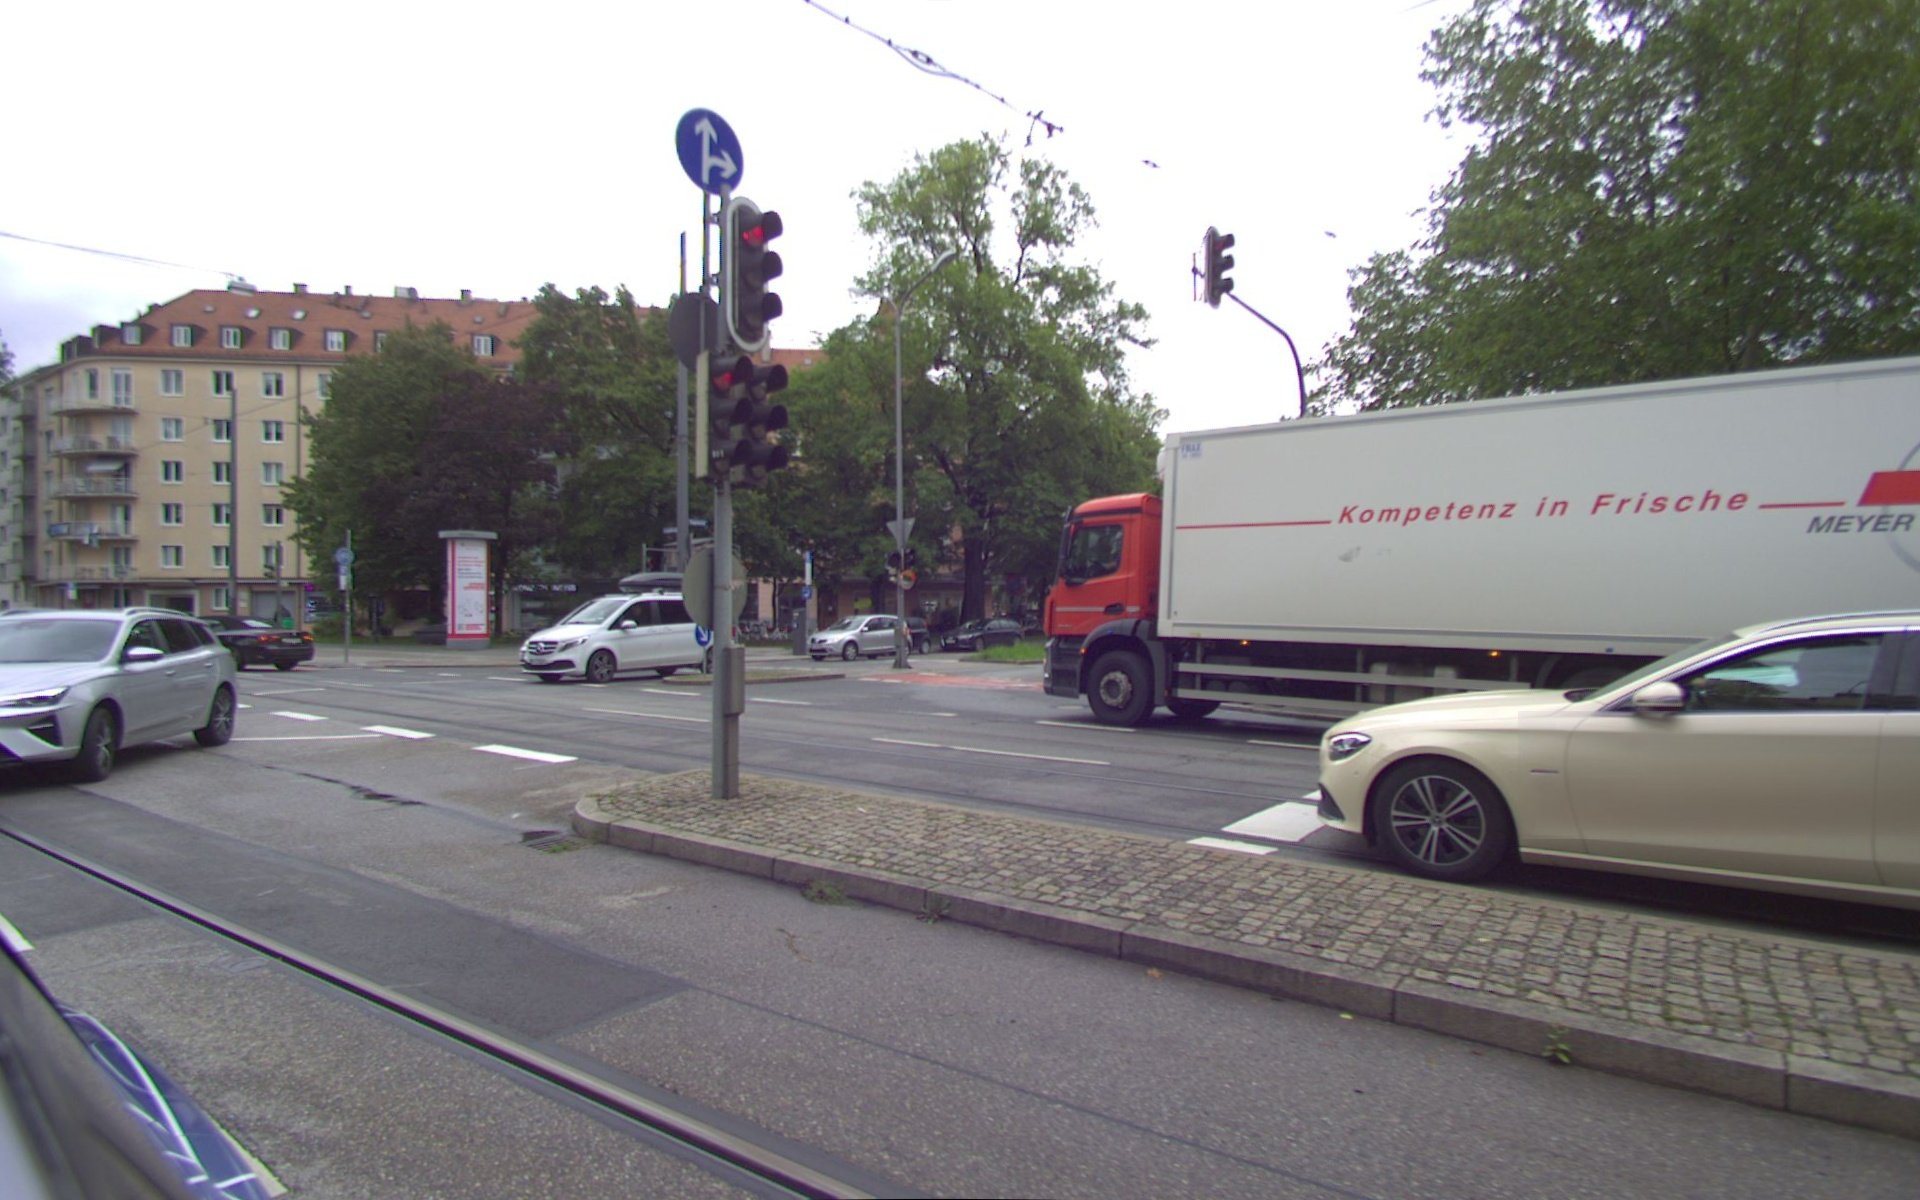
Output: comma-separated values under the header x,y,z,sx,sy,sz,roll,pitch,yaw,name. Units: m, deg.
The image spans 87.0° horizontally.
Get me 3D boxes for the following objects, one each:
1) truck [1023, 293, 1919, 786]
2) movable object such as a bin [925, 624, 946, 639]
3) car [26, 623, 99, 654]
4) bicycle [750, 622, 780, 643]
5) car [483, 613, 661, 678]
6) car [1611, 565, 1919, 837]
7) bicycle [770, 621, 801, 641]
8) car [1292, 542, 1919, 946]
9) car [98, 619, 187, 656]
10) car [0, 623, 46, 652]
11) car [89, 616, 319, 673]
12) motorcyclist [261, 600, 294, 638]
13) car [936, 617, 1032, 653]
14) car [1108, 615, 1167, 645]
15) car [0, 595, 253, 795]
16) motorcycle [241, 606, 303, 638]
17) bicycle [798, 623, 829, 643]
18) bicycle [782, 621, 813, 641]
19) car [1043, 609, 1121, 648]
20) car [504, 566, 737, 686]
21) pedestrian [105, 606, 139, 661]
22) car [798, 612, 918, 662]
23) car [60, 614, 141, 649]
x,y,z,sx,sy,sz,roll,pitch,yaw,name
6.261,-0.436,11.197,11.701,4.011,2.713,-1,-2,39,truck
-1.512,1.956,62.501,0.762,0.879,1.182,1,-1,-42,movable object such as a bin
-43.611,1.849,49.171,4.365,1.418,1.710,-1,-1,35,car
-8.702,1.453,45.208,1.405,0.900,0.310,-3,-2,26,bicycle
-10.118,1.151,26.683,1.770,1.536,4.162,-2,-2,32,car
7.215,0.628,6.550,4.885,1.696,1.896,-1,-1,39,car
-8.042,1.429,46.545,1.399,0.900,0.312,-1,-1,14,bicycle
4.357,0.597,4.949,4.885,1.651,1.804,-1,-1,39,car
-33.215,1.480,41.100,4.365,1.418,1.710,-1,-1,35,car
-49.679,1.931,53.040,4.465,1.418,1.710,-1,-1,35,car
-19.220,1.115,25.833,4.735,1.400,1.727,0,-1,4,car
-26.800,0.736,39.743,0.870,1.454,0.620,-1,0,2,motorcyclist
1.070,1.459,43.312,1.771,1.472,4.583,-1,-1,37,car
9.451,1.568,53.876,1.523,1.561,3.613,-1,-1,39,car
-8.672,0.810,9.683,1.746,1.536,4.219,-1,-1,-14,car
-26.989,0.871,39.717,2.002,1.178,0.630,1,5,2,motorcycle
-6.959,1.588,48.098,1.394,0.900,0.313,-2,-2,3,bicycle
-7.568,1.444,47.134,1.394,0.900,0.313,-2,-2,3,bicycle
6.042,1.360,49.743,1.933,1.833,4.500,-1,-1,35,car
-7.433,0.546,22.695,1.908,2.369,4.891,-1,-1,32,car
-26.099,1.044,31.531,0.543,1.675,0.704,-2,-2,-10,pedestrian
-3.351,1.214,34.020,1.771,1.536,4.161,-2,-2,33,car
-37.578,1.346,44.218,4.365,1.418,1.710,-1,-1,35,car
